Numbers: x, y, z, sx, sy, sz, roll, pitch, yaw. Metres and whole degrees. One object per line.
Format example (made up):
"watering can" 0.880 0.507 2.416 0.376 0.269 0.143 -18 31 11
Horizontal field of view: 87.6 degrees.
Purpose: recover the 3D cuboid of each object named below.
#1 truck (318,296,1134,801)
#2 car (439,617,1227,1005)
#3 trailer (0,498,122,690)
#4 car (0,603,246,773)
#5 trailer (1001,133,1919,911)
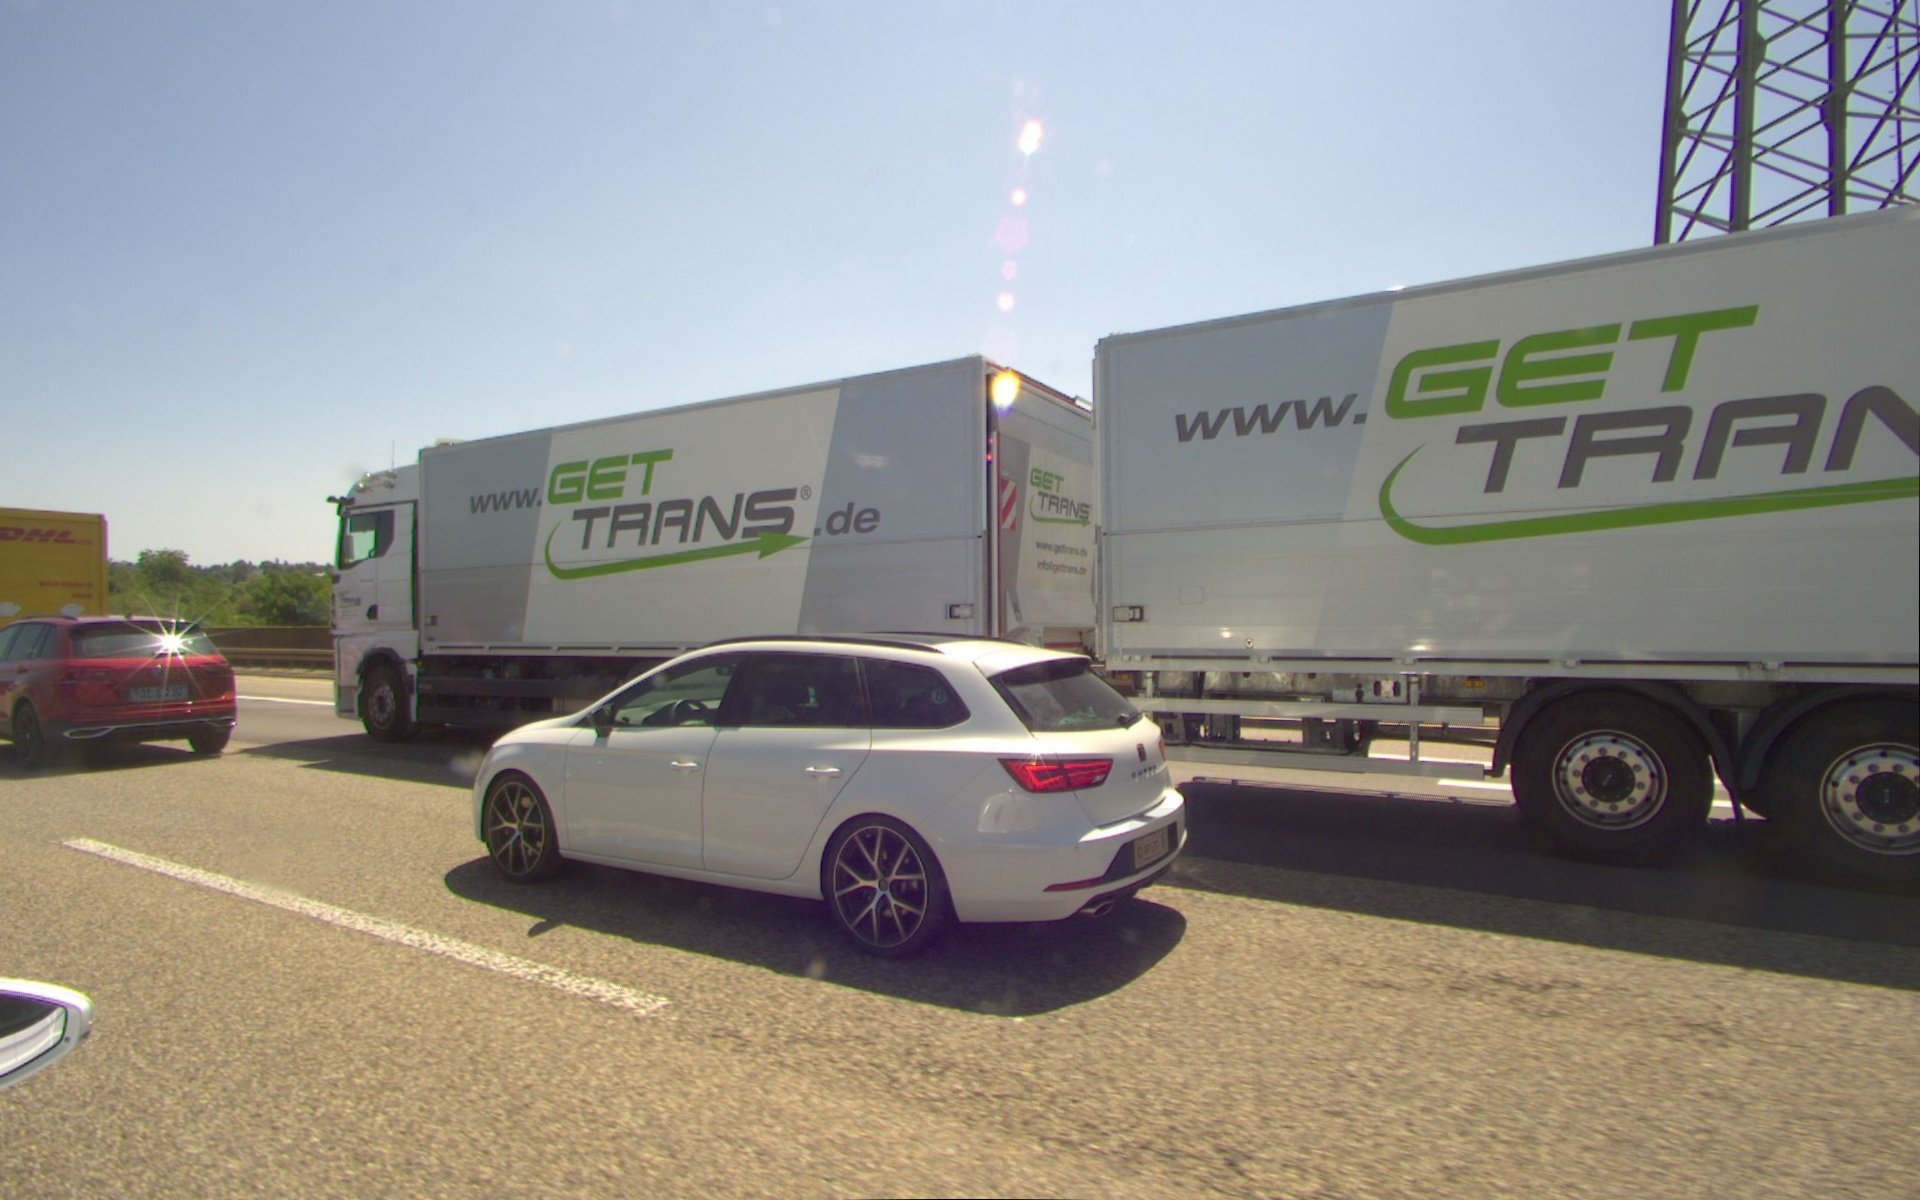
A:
"truck" -3.387 -0.263 11.860 10.456 3.984 2.848 -1 -2 32
"car" -0.883 0.851 5.713 4.364 1.470 1.706 0 -1 31
"trailer" -24.091 -0.022 24.511 8.848 4.140 2.679 -1 -2 31
"car" -10.462 0.925 11.908 4.222 1.700 1.706 0 -1 32
"trailer" 4.511 -0.332 6.982 8.095 3.941 2.894 -1 -2 32
